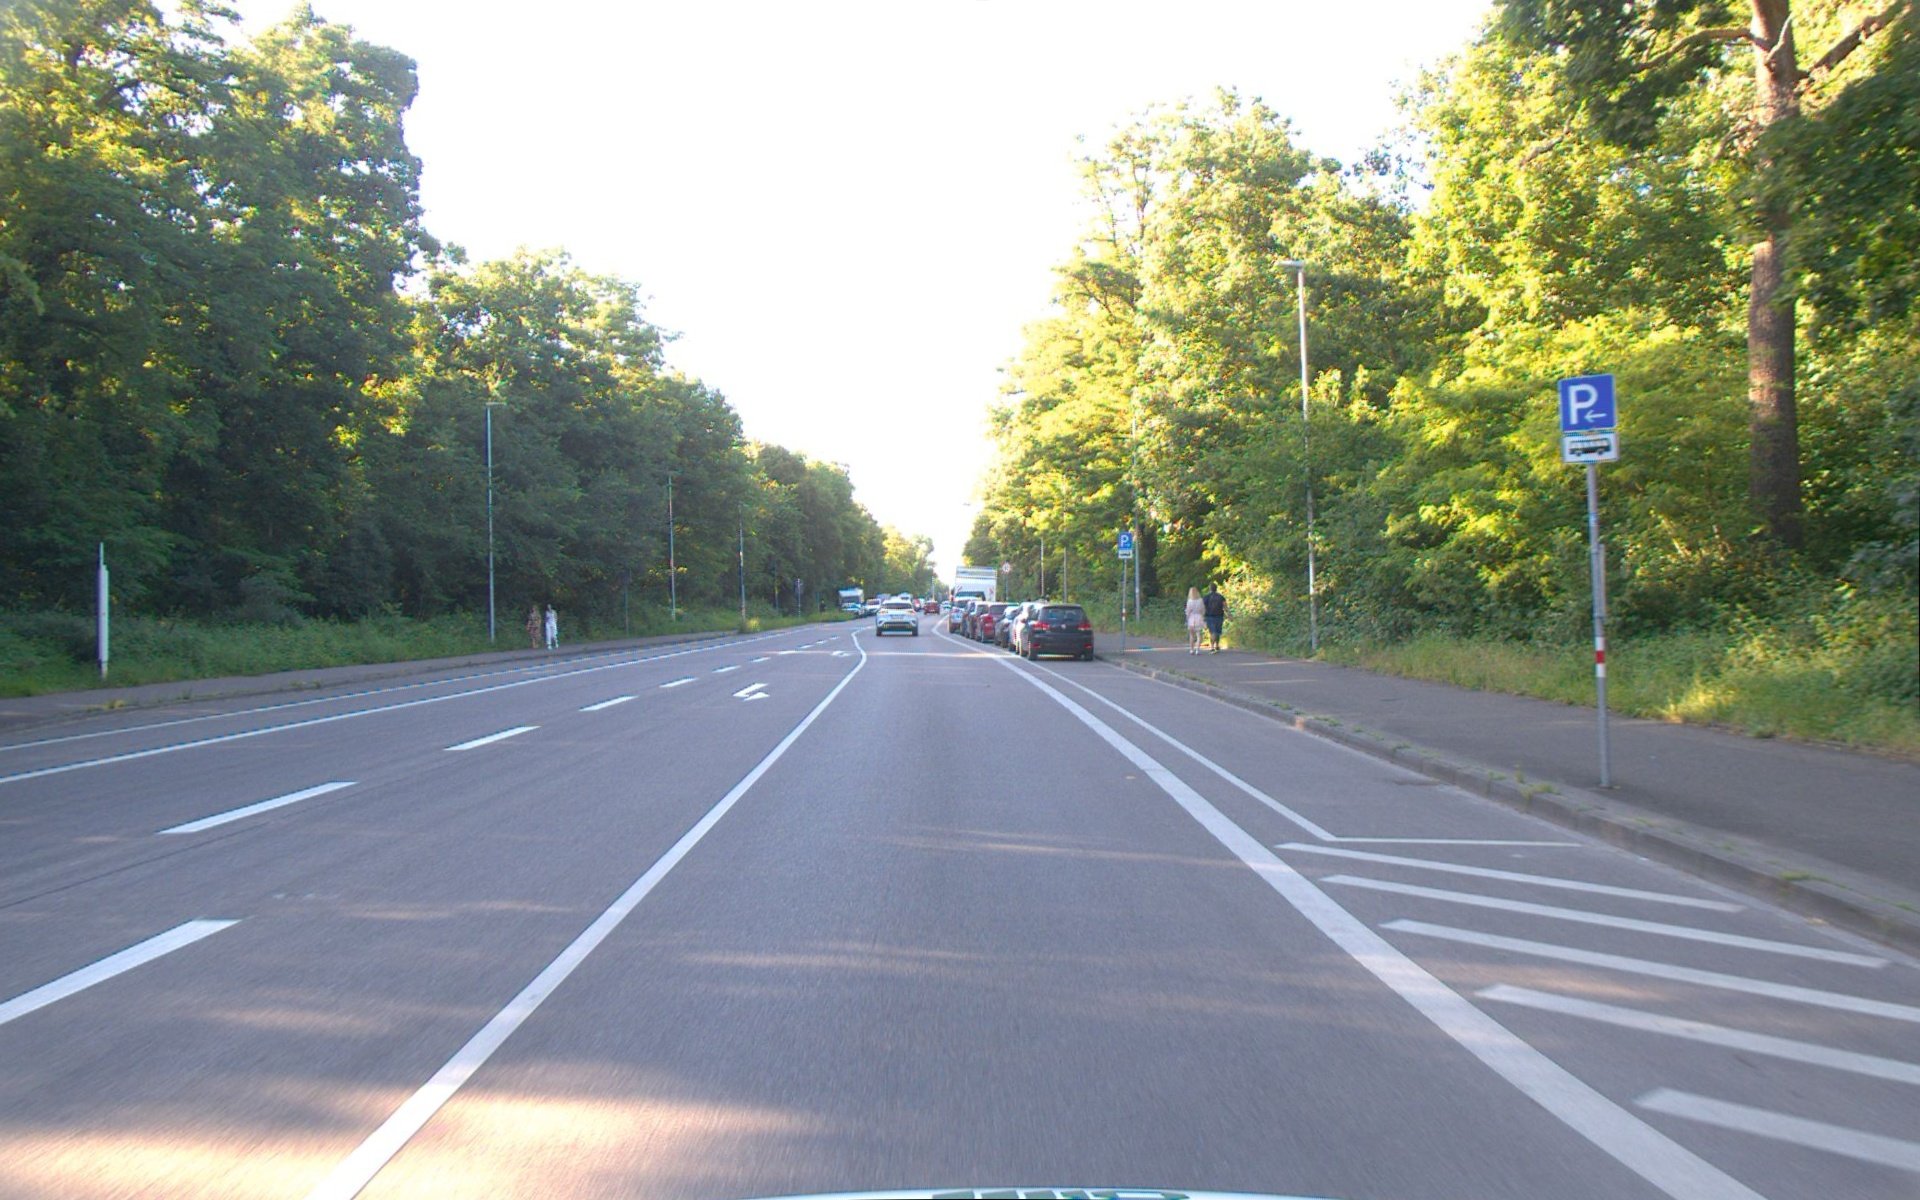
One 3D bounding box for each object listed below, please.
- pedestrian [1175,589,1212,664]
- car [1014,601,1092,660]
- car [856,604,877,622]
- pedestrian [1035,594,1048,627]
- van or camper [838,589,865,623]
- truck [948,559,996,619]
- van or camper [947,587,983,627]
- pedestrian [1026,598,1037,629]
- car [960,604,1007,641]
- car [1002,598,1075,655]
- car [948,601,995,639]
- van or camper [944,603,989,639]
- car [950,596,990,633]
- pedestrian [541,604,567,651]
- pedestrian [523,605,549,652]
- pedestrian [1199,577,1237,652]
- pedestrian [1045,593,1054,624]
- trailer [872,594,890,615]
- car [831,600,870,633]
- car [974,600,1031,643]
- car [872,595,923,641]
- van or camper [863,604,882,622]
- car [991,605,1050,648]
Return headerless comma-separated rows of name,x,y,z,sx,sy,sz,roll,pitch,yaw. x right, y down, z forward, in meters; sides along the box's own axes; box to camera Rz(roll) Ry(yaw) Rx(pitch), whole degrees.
pedestrian,5.902,0.664,41.870,0.662,1.830,0.789,-3,0,-6
car,2.463,0.785,44.654,1.624,1.477,4.017,-1,0,-4
car,-8.510,1.191,150.444,1.791,1.501,4.678,-2,0,-3
pedestrian,4.468,0.593,90.908,0.605,1.795,0.906,-2,0,-1
van or camper,-10.286,0.560,157.403,2.268,3.021,7.108,-3,0,-2
truck,0.675,-0.664,104.207,2.775,3.559,8.576,-1,0,-1
van or camper,0.282,0.368,88.870,1.858,2.049,4.587,-1,0,0
pedestrian,3.827,0.712,88.735,0.552,1.616,0.482,-2,0,-1
car,0.911,0.862,66.091,1.563,1.426,3.795,0,0,-4
car,2.297,0.749,49.141,1.702,1.551,4.357,-1,0,-3
car,0.463,0.813,70.957,1.771,1.545,4.502,1,0,-2
van or camper,0.577,1.747,141.508,2.389,2.848,6.562,-2,0,13
car,0.467,0.635,76.484,1.762,1.623,4.029,-1,0,0
pedestrian,-14.836,1.002,60.442,0.660,1.682,0.790,-1,0,4
pedestrian,-15.509,1.023,60.477,0.660,1.682,0.790,-1,0,4
pedestrian,6.540,0.361,41.969,0.662,1.830,0.952,-3,0,-6
pedestrian,4.683,0.427,86.597,0.386,1.616,0.482,-2,0,-1
trailer,-10.275,0.579,214.200,1.953,2.643,4.415,-3,0,0
car,-5.387,0.809,81.770,1.771,1.545,4.502,1,0,-2
car,1.524,0.776,60.341,1.585,1.494,3.720,1,0,-6
car,-2.658,0.762,71.067,1.987,1.872,4.029,-1,0,0
van or camper,-10.106,1.529,191.245,1.798,1.945,4.855,-2,0,-1
car,1.970,0.850,54.594,1.596,1.342,3.838,0,0,-3
